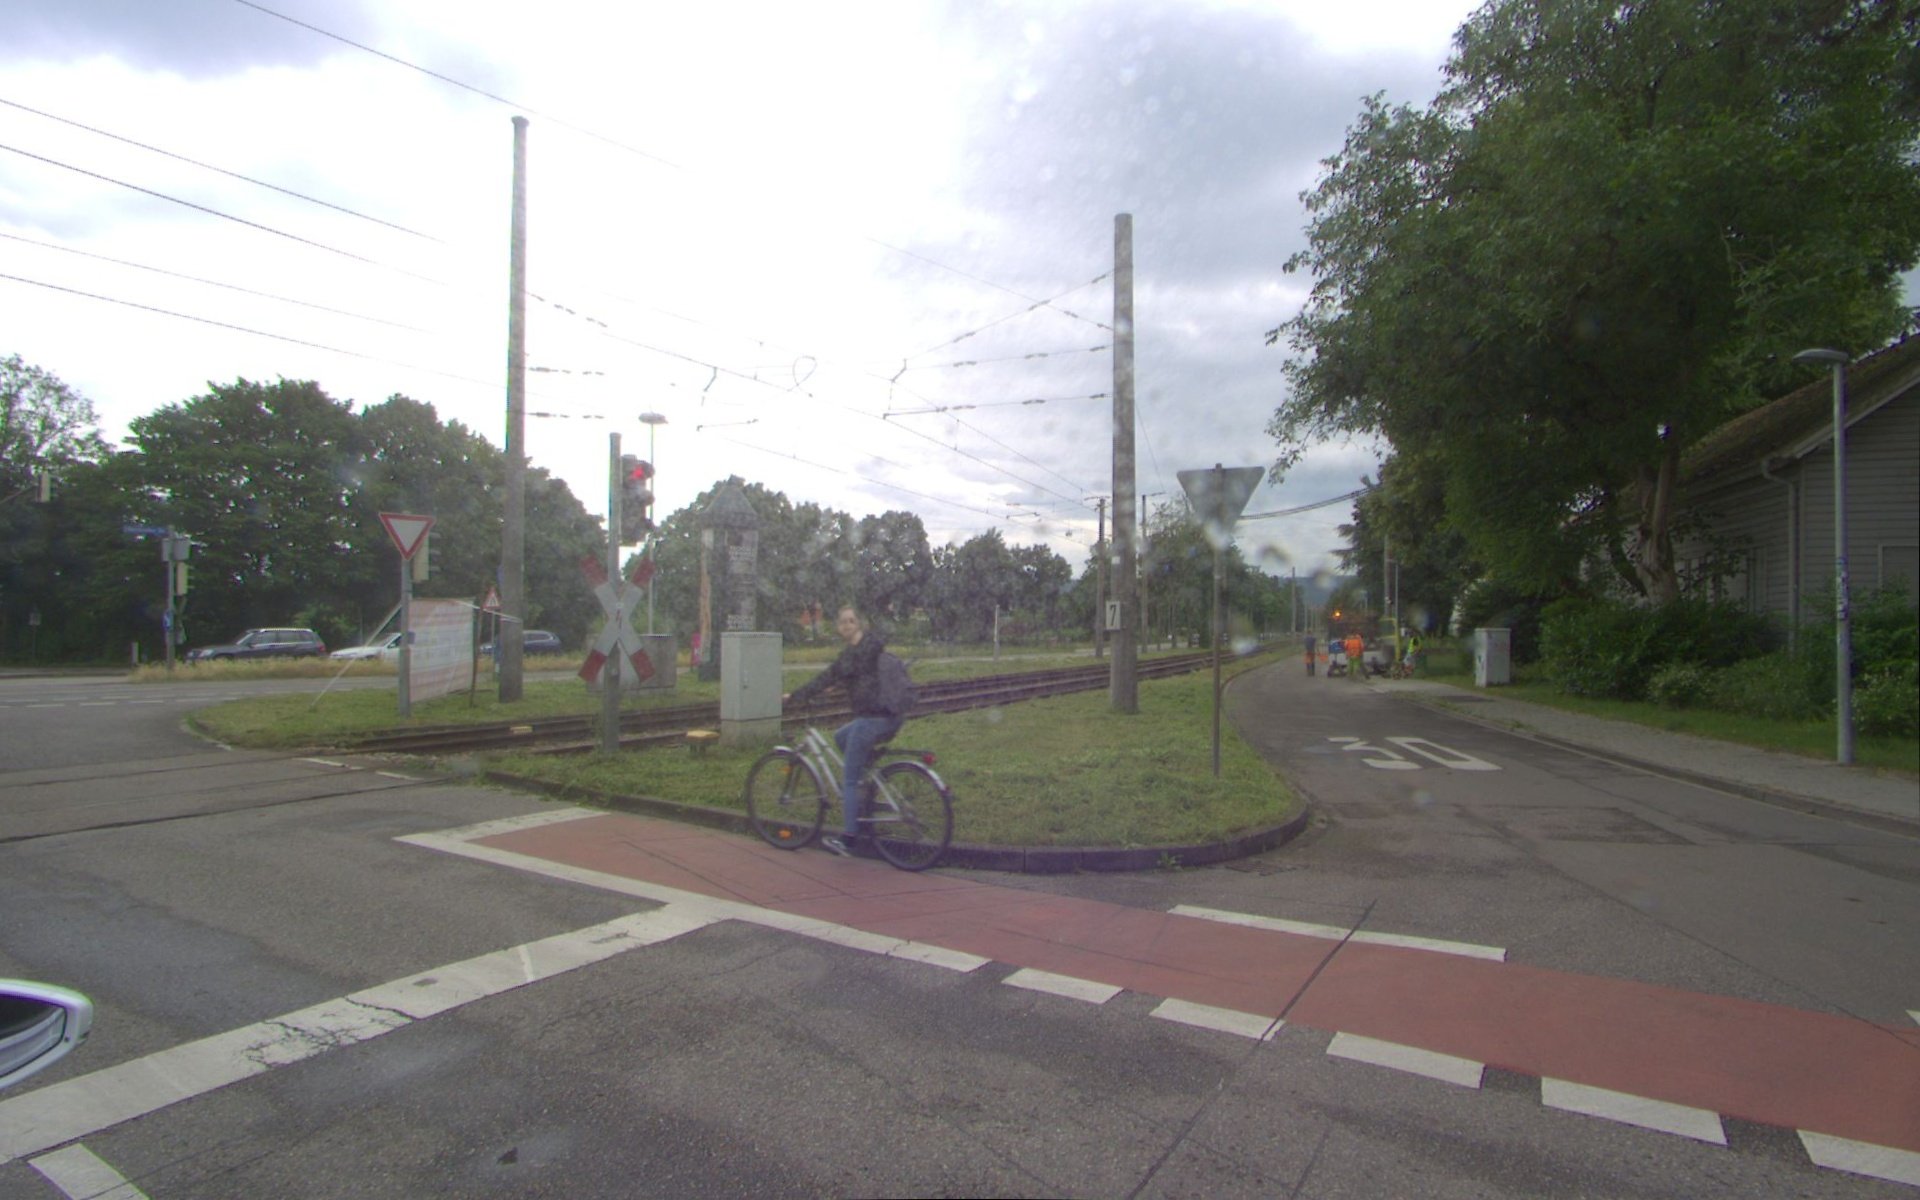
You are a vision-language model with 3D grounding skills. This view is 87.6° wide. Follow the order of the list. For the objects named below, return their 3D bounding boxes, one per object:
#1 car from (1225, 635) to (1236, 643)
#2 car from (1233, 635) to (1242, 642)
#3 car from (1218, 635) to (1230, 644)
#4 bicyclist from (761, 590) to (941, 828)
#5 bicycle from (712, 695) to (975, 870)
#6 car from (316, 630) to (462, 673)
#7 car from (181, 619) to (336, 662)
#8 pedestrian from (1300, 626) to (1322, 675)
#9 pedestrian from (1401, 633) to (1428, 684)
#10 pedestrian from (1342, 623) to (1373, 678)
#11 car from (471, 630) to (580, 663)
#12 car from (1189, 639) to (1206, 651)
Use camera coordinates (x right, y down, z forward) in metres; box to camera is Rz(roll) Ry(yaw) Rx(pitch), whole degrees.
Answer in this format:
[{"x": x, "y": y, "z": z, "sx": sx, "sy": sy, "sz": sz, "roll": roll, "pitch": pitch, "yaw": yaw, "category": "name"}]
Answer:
[{"x": 53.217, "y": 7.695, "z": 197.054, "sx": 1.963, "sy": 1.460, "sz": 3.997, "roll": -1, "pitch": -2, "yaw": 16, "category": "car"}, {"x": 59.494, "y": 8.317, "z": 214.666, "sx": 1.963, "sy": 1.460, "sz": 3.997, "roll": -1, "pitch": -2, "yaw": 16, "category": "car"}, {"x": 46.713, "y": 6.997, "z": 177.349, "sx": 1.963, "sy": 1.460, "sz": 3.997, "roll": -1, "pitch": -2, "yaw": 16, "category": "car"}, {"x": -0.712, "y": 0.695, "z": 6.605, "sx": 0.947, "sy": 1.441, "sz": 0.621, "roll": -1, "pitch": -5, "yaw": 32, "category": "bicyclist"}, {"x": -0.849, "y": 1.184, "z": 6.849, "sx": 2.001, "sy": 0.993, "sz": 0.382, "roll": -1, "pitch": -2, "yaw": 32, "category": "bicycle"}, {"x": -19.698, "y": 1.762, "z": 34.726, "sx": 1.624, "sy": 1.374, "sz": 4.129, "roll": 0, "pitch": -2, "yaw": 33, "category": "car"}, {"x": -26.469, "y": 1.528, "z": 37.918, "sx": 1.820, "sy": 1.523, "sz": 4.456, "roll": 0, "pitch": -2, "yaw": 33, "category": "car"}, {"x": 13.565, "y": 1.948, "z": 38.697, "sx": 0.757, "sy": 1.892, "sz": 0.604, "roll": 0, "pitch": -1, "yaw": 17, "category": "pedestrian"}, {"x": 16.663, "y": 2.137, "z": 36.746, "sx": 0.598, "sy": 1.864, "sz": 0.712, "roll": 1, "pitch": -1, "yaw": -13, "category": "pedestrian"}, {"x": 13.850, "y": 1.750, "z": 34.929, "sx": 0.862, "sy": 1.878, "sz": 0.676, "roll": 1, "pitch": -1, "yaw": 34, "category": "pedestrian"}, {"x": -20.360, "y": 2.151, "z": 47.133, "sx": 1.820, "sy": 1.458, "sz": 4.456, "roll": 0, "pitch": -2, "yaw": 33, "category": "car"}, {"x": 35.036, "y": 6.572, "z": 147.541, "sx": 1.966, "sy": 1.743, "sz": 3.992, "roll": -1, "pitch": -2, "yaw": 21, "category": "car"}]
